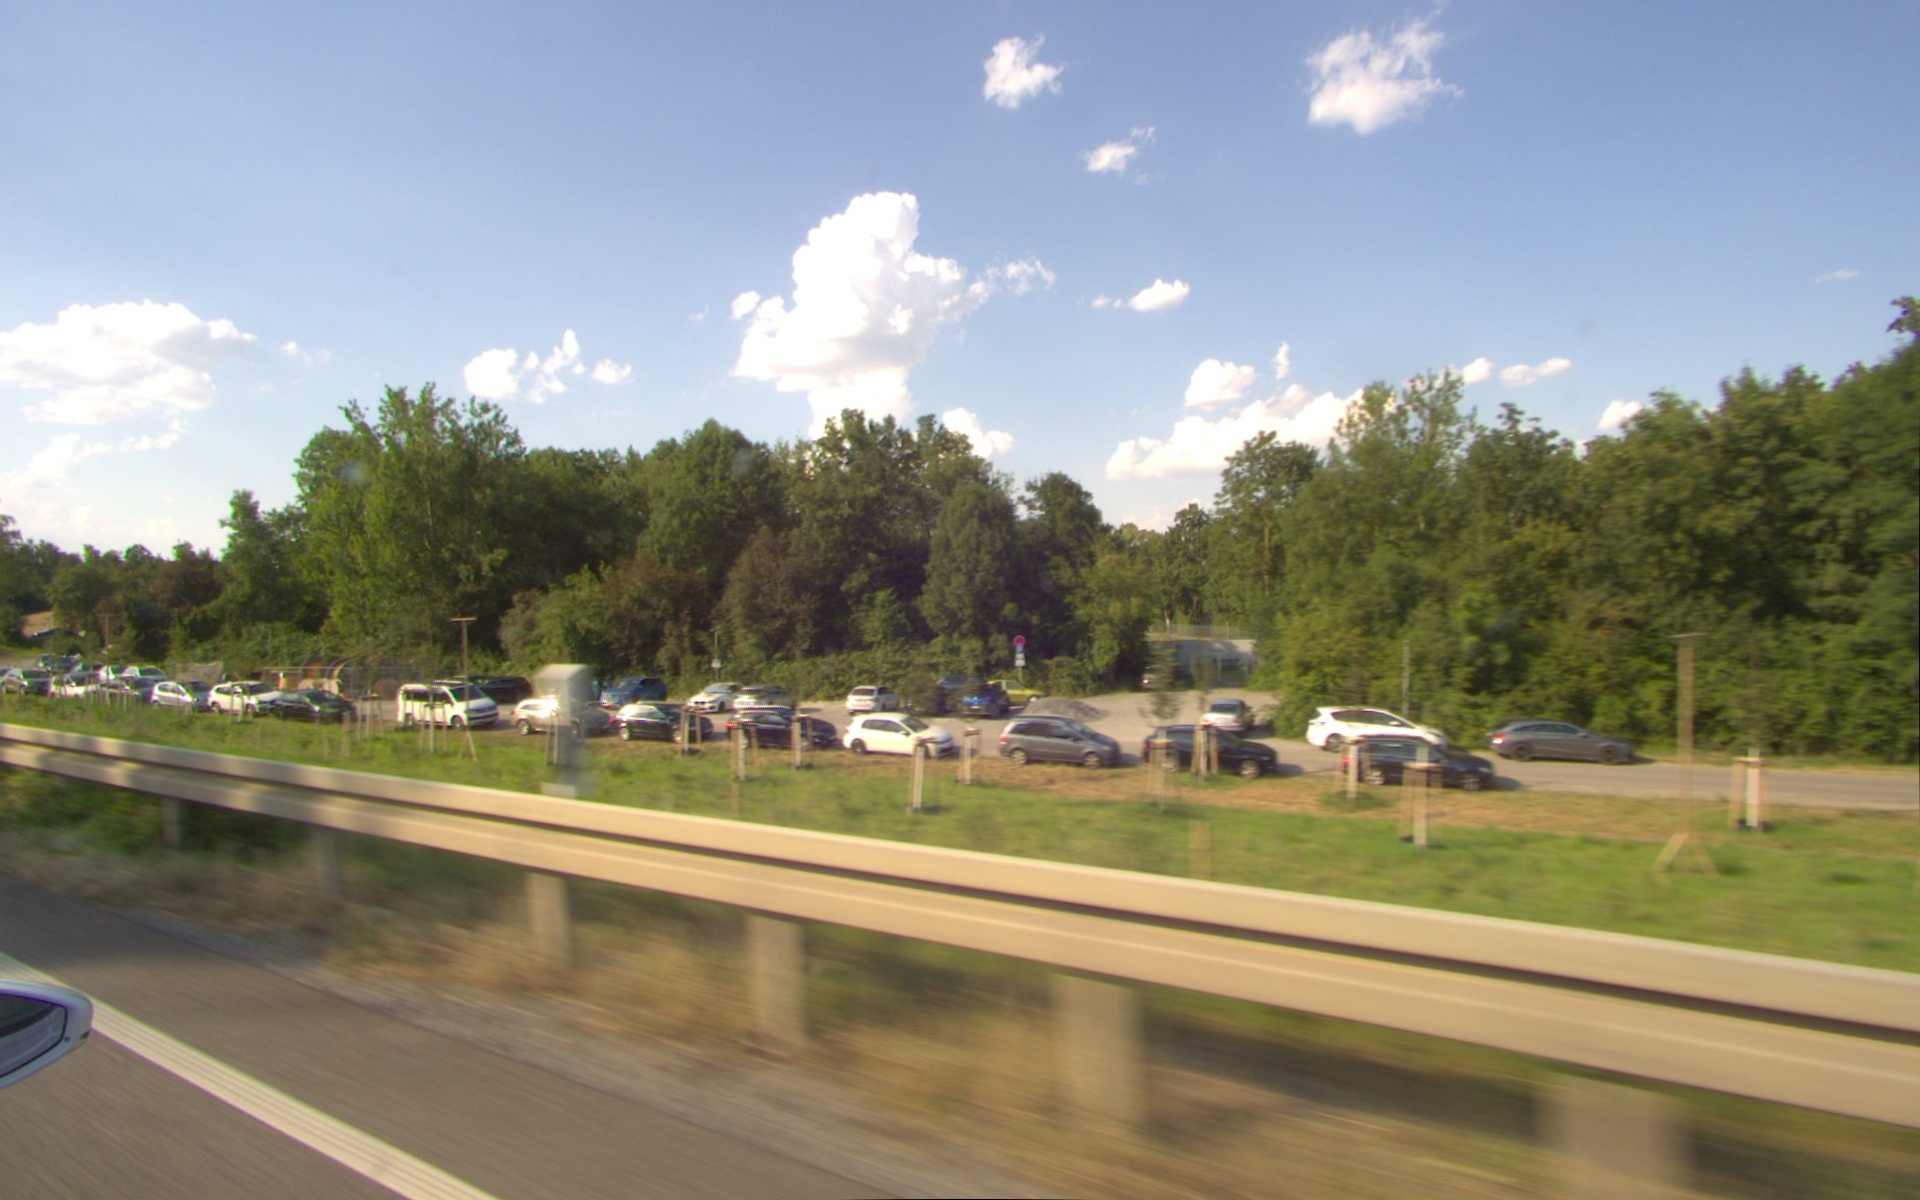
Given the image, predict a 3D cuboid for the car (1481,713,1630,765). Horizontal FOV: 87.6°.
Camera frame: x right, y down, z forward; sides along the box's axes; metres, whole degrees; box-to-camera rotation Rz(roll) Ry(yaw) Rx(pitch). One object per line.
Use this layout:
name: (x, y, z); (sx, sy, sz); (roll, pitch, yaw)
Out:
car: (20.616, 4.795, 34.857); (4.148, 1.516, 1.657); (-1, 0, 19)

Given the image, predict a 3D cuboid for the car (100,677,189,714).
car: (-46.005, 5.350, 56.474); (4.702, 1.581, 1.891); (1, 3, 24)

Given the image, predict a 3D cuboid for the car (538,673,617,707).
car: (-21.351, 4.990, 56.098); (1.801, 1.625, 4.240); (0, -2, 20)

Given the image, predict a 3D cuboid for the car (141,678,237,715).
car: (-41.625, 5.171, 54.079); (4.699, 1.581, 1.892); (0, 3, 21)

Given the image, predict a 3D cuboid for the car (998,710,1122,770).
car: (3.617, 5.005, 36.119); (4.179, 1.681, 1.820); (0, 2, 17)

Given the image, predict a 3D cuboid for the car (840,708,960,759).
car: (-2.274, 5.054, 38.088); (4.179, 1.502, 1.820); (0, 2, 17)

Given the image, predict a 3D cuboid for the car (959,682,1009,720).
car: (1.242, 5.002, 49.984); (1.587, 1.475, 4.242); (0, 0, 14)

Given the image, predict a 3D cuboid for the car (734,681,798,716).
car: (-9.926, 5.023, 51.500); (1.587, 1.474, 4.244); (0, -2, 14)

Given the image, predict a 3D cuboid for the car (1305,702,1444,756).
car: (15.229, 4.727, 36.995); (4.628, 1.688, 1.656); (-1, 0, 22)

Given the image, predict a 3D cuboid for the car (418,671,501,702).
car: (-29.189, 5.009, 58.516); (1.802, 1.509, 4.239); (0, -1, 21)

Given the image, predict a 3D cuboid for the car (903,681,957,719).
car: (-1.463, 4.968, 50.199); (1.587, 1.475, 4.243); (0, -1, 14)

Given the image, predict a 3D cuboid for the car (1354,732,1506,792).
car: (14.678, 5.046, 31.499); (4.148, 1.516, 1.657); (-1, 0, 19)

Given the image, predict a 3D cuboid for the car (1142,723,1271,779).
car: (8.405, 5.096, 34.169); (4.179, 1.420, 1.820); (0, 2, 17)

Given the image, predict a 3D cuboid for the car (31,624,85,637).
car: (-108.876, 3.684, 120.886); (1.962, 1.526, 4.644); (0, -2, 9)

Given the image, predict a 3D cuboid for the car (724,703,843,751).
car: (-6.989, 5.002, 39.711); (4.315, 1.502, 1.820); (0, 2, 17)

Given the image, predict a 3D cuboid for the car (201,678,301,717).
car: (-36.707, 5.034, 51.855); (4.699, 1.581, 1.892); (0, 3, 21)

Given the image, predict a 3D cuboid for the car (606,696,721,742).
car: (-12.383, 4.933, 41.862); (4.315, 1.502, 1.820); (0, 2, 17)

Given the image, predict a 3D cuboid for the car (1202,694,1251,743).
car: (11.248, 4.918, 42.135); (1.589, 1.475, 4.237); (1, 1, 20)

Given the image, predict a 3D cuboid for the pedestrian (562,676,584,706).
pedestrian: (-20.826, 4.903, 53.873); (0.910, 1.491, 0.882); (-2, 3, -35)

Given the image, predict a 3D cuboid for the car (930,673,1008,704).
car: (0.532, 4.939, 56.181); (4.165, 1.475, 1.616); (0, 1, 10)

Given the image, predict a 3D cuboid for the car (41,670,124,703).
car: (-52.455, 5.139, 59.854); (4.702, 1.581, 1.891); (1, 3, 24)

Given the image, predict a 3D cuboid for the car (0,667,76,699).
car: (-57.510, 5.142, 62.351); (4.702, 1.581, 1.891); (1, 3, 24)

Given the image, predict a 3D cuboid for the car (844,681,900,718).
car: (-4.396, 5.017, 50.824); (1.702, 1.475, 4.414); (0, -1, 11)

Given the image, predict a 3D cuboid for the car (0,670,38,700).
car: (-62.410, 5.492, 65.130); (4.702, 1.580, 1.892); (1, 1, 24)

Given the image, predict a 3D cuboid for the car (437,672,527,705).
car: (-26.977, 4.984, 56.587); (1.808, 1.509, 4.221); (2, 0, 35)

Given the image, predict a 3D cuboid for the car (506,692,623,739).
car: (-17.237, 4.996, 43.647); (4.699, 1.503, 1.892); (0, 3, 21)

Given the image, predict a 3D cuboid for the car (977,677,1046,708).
car: (2.788, 4.988, 54.066); (3.605, 1.475, 1.498); (0, 1, 10)

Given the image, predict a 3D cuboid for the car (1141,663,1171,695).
car: (12.385, 4.945, 63.165); (1.587, 1.476, 4.239); (0, 2, 14)

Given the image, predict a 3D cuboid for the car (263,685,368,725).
car: (-31.619, 5.129, 49.150); (4.699, 1.503, 1.892); (0, 3, 21)

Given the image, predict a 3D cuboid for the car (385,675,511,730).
car: (-23.532, 4.659, 46.053); (5.285, 2.046, 2.119); (0, 3, 21)

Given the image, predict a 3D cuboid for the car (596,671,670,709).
car: (-17.852, 4.898, 54.842); (1.800, 1.765, 4.243); (1, -1, 15)

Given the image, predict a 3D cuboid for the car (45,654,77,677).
car: (-69.992, 5.067, 77.988); (1.687, 1.418, 4.742); (-3, 2, -41)

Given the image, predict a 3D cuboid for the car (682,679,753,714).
car: (-12.606, 5.005, 52.357); (1.739, 1.517, 4.243); (0, -2, 15)
